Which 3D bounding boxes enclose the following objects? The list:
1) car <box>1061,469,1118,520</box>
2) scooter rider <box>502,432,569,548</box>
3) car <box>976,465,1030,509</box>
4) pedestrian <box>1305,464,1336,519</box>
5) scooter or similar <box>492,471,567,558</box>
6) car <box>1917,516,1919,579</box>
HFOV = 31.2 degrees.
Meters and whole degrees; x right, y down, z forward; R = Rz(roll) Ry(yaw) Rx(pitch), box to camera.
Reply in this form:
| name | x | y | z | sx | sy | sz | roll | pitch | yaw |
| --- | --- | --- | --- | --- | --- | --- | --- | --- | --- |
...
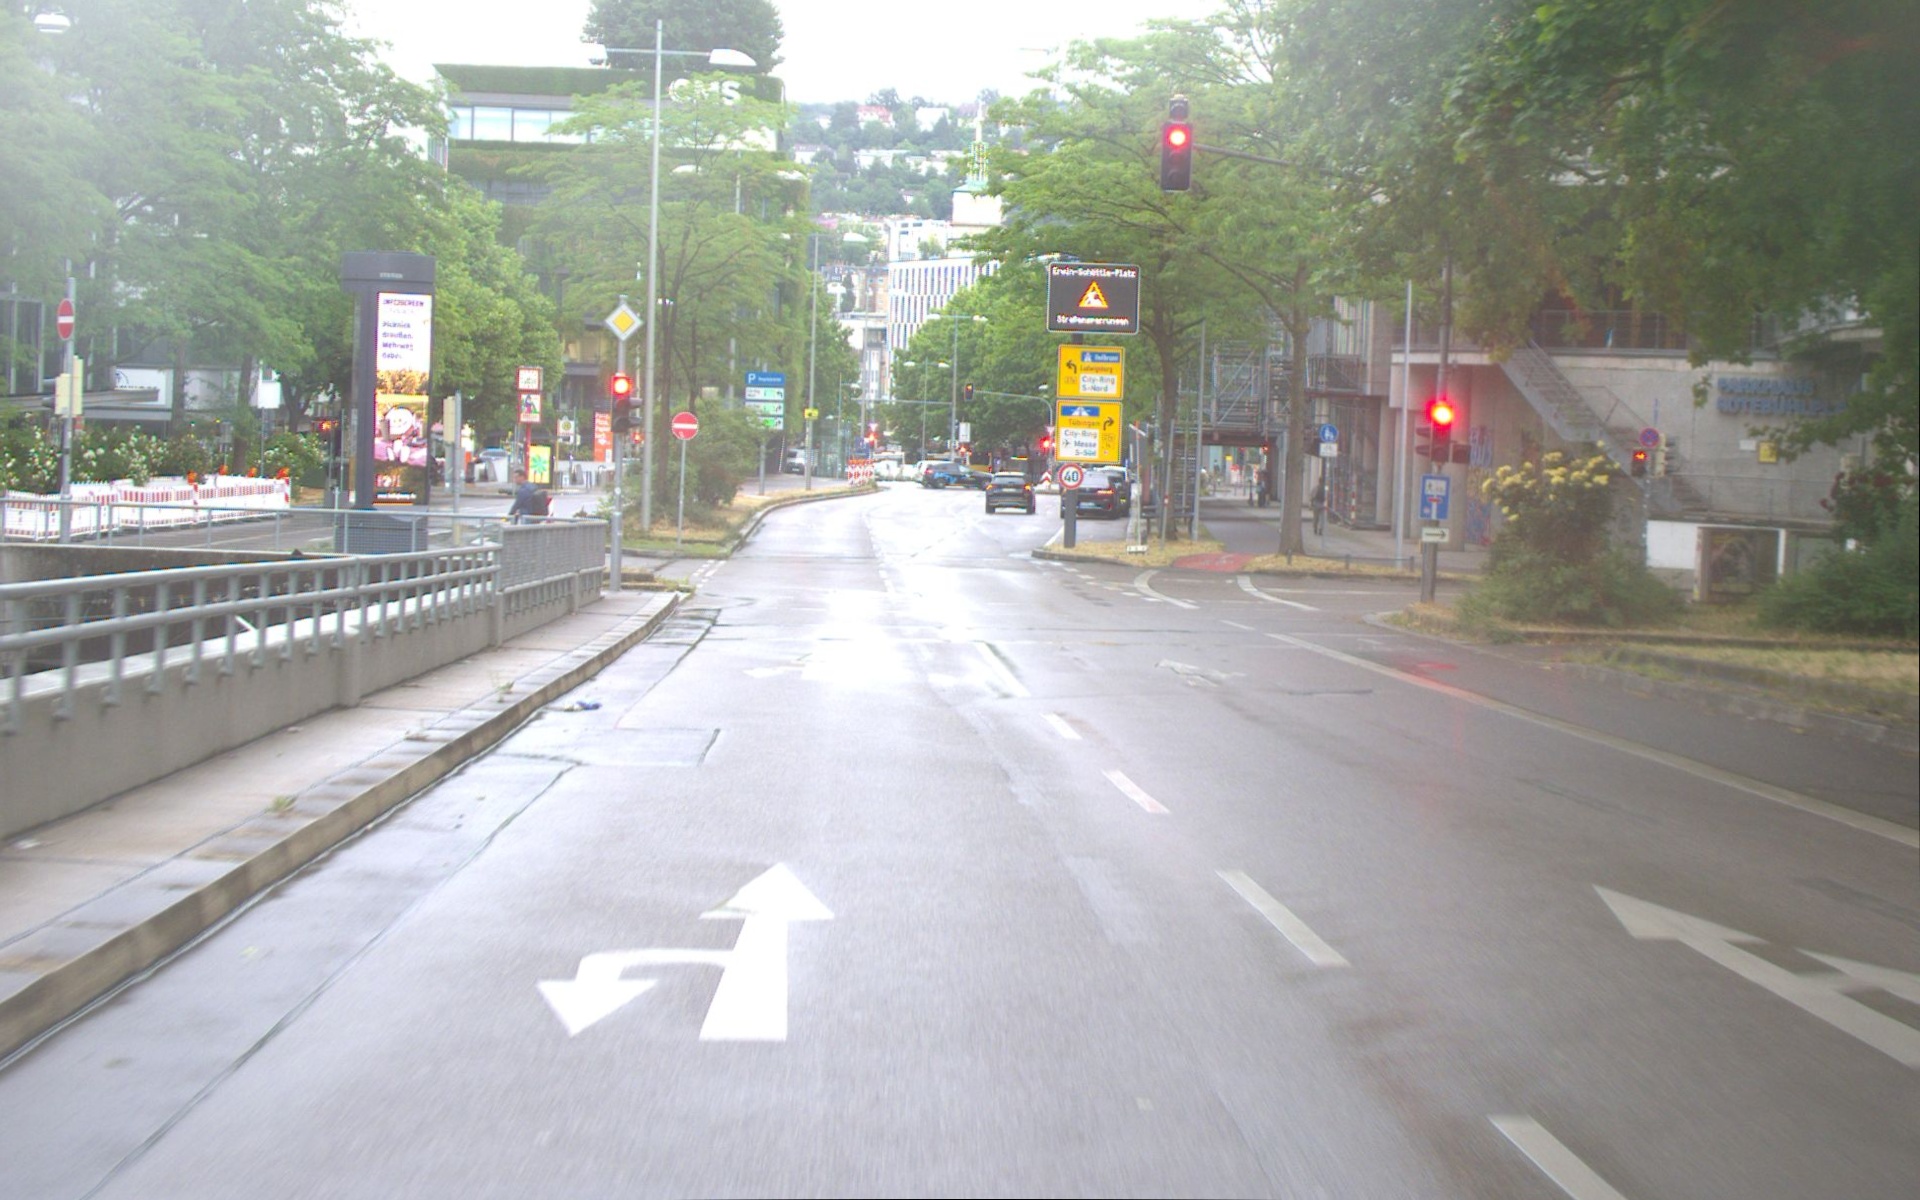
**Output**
| name | x | y | z | sx | sy | sz | roll | pitch | yaw |
| --- | --- | --- | --- | --- | --- | --- | --- | --- | --- |
| car | 4.527 | -3.698 | 120.462 | 1.901 | 1.678 | 3.911 | 3 | 2 | 2 |
| scooter rider | -7.297 | -1.890 | 59.115 | 0.808 | 1.941 | 0.822 | 2 | 2 | -29 |
| car | 1.595 | -4.194 | 127.699 | 1.746 | 1.513 | 4.107 | 2 | 2 | -2 |
| pedestrian | 10.471 | -3.150 | 99.885 | 0.786 | 1.552 | 0.533 | 3 | 2 | 0 |
| scooter or similar | -7.429 | -1.481 | 59.223 | 0.546 | 1.413 | 1.956 | 2 | 2 | -29 |
| car | 20.939 | -1.146 | 66.901 | 4.342 | 1.678 | 1.752 | 2 | 2 | -27 |
